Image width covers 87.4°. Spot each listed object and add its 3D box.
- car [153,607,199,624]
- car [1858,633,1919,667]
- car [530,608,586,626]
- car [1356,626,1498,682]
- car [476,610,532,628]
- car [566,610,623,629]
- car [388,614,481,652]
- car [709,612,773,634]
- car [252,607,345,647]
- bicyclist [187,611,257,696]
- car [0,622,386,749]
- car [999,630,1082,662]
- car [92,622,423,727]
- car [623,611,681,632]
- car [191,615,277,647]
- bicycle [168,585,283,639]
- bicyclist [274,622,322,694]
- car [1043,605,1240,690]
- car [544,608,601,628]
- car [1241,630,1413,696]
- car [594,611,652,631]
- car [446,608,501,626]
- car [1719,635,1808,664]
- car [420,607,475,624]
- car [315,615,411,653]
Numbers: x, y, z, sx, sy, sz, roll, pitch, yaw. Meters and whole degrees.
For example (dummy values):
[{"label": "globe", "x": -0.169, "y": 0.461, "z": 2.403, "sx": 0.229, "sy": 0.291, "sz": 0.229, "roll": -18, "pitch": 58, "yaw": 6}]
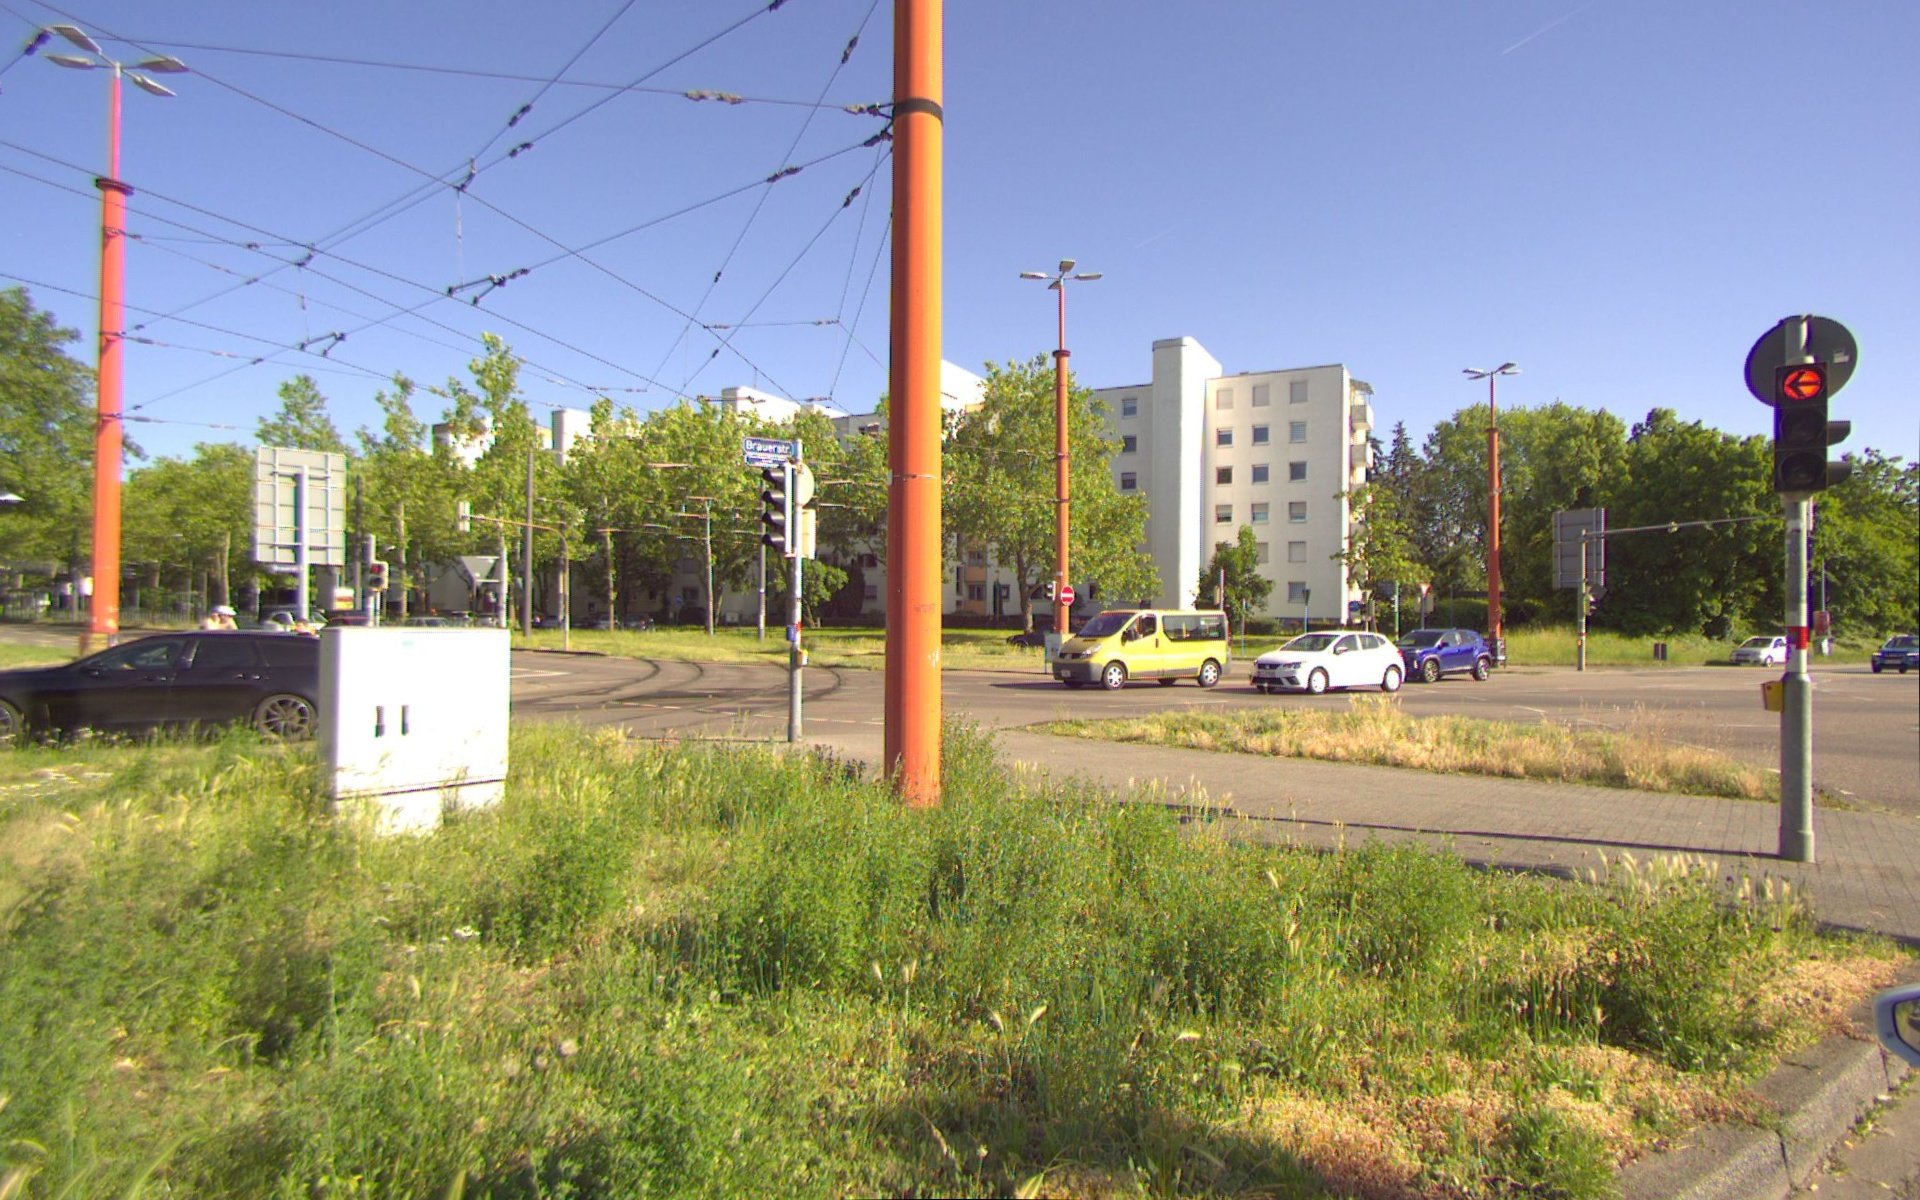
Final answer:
[{"label": "car", "x": -94.100, "y": 1.858, "z": 120.530, "sx": 1.969, "sy": 2.040, "sz": 3.984, "roll": 0, "pitch": -1, "yaw": 38}, {"label": "car", "x": 37.305, "y": 1.966, "z": 39.725, "sx": 3.571, "sy": 1.260, "sz": 1.730, "roll": 1, "pitch": -1, "yaw": -31}, {"label": "car", "x": -31.946, "y": 1.357, "z": 79.968, "sx": 3.935, "sy": 1.428, "sz": 1.794, "roll": 1, "pitch": -1, "yaw": -17}, {"label": "car", "x": 14.282, "y": 1.614, "z": 30.693, "sx": 4.058, "sy": 1.595, "sz": 1.984, "roll": 1, "pitch": -1, "yaw": -30}, {"label": "car", "x": -38.040, "y": 1.555, "z": 83.880, "sx": 3.935, "sy": 1.428, "sz": 1.794, "roll": 1, "pitch": -1, "yaw": -17}, {"label": "car", "x": -27.586, "y": 1.475, "z": 75.917, "sx": 3.934, "sy": 1.428, "sz": 1.794, "roll": 1, "pitch": -1, "yaw": -16}, {"label": "car", "x": -22.877, "y": 1.402, "z": 43.678, "sx": 4.191, "sy": 1.566, "sz": 1.852, "roll": 0, "pitch": -1, "yaw": 35}, {"label": "car", "x": -14.550, "y": 1.543, "z": 66.840, "sx": 1.770, "sy": 1.428, "sz": 3.987, "roll": 0, "pitch": -1, "yaw": 35}, {"label": "car", "x": -29.051, "y": 1.177, "z": 44.093, "sx": 4.178, "sy": 1.658, "sz": 1.825, "roll": 0, "pitch": -1, "yaw": 32}, {"label": "bicyclist", "x": -13.942, "y": 1.002, "z": 19.000, "sx": 0.752, "sy": 1.565, "sz": 0.732, "roll": 1, "pitch": -1, "yaw": -1}, {"label": "car", "x": -9.999, "y": 1.035, "z": 13.120, "sx": 4.257, "sy": 1.435, "sz": 1.787, "roll": 1, "pitch": -1, "yaw": -29}, {"label": "car", "x": 3.982, "y": 2.234, "z": 49.097, "sx": 3.919, "sy": 1.428, "sz": 1.801, "roll": 1, "pitch": -1, "yaw": 8}, {"label": "car", "x": -11.282, "y": 1.162, "z": 16.539, "sx": 4.185, "sy": 1.528, "sz": 1.782, "roll": 1, "pitch": -1, "yaw": -26}, {"label": "car", "x": -22.264, "y": 1.538, "z": 72.643, "sx": 3.934, "sy": 1.428, "sz": 1.794, "roll": 1, "pitch": -1, "yaw": -16}, {"label": "car", "x": -34.598, "y": 1.443, "z": 47.865, "sx": 4.286, "sy": 1.368, "sz": 1.762, "roll": 1, "pitch": -1, "yaw": 31}, {"label": "bicycle", "x": -13.864, "y": 0.228, "z": 18.987, "sx": 1.613, "sy": 0.974, "sz": 0.685, "roll": 1, "pitch": -1, "yaw": -2}, {"label": "bicyclist", "x": -13.119, "y": 1.139, "z": 19.915, "sx": 0.616, "sy": 1.399, "sz": 0.443, "roll": 1, "pitch": -1, "yaw": -1}, {"label": "car", "x": 4.673, "y": 1.189, "z": 25.663, "sx": 4.849, "sy": 1.992, "sz": 1.984, "roll": 1, "pitch": -1, "yaw": -30}, {"label": "car", "x": -30.085, "y": 1.407, "z": 78.072, "sx": 3.934, "sy": 1.428, "sz": 1.794, "roll": 1, "pitch": -1, "yaw": -16}, {"label": "car", "x": 8.728, "y": 1.456, "z": 23.828, "sx": 3.973, "sy": 1.425, "sz": 1.681, "roll": 1, "pitch": -1, "yaw": -30}, {"label": "car", "x": -25.004, "y": 1.546, "z": 74.693, "sx": 3.934, "sy": 1.428, "sz": 1.794, "roll": 1, "pitch": -1, "yaw": -16}, {"label": "car", "x": -41.444, "y": 1.472, "z": 85.621, "sx": 3.935, "sy": 1.428, "sz": 1.794, "roll": 1, "pitch": -1, "yaw": -17}, {"label": "car", "x": 40.800, "y": 2.504, "z": 51.015, "sx": 3.938, "sy": 1.416, "sz": 1.749, "roll": 1, "pitch": -1, "yaw": -19}, {"label": "car", "x": -44.799, "y": 1.374, "z": 87.891, "sx": 3.935, "sy": 1.428, "sz": 1.794, "roll": 1, "pitch": -1, "yaw": -17}, {"label": "car", "x": -24.181, "y": 1.361, "z": 40.660, "sx": 3.994, "sy": 1.454, "sz": 1.682, "roll": 0, "pitch": -1, "yaw": 32}]
